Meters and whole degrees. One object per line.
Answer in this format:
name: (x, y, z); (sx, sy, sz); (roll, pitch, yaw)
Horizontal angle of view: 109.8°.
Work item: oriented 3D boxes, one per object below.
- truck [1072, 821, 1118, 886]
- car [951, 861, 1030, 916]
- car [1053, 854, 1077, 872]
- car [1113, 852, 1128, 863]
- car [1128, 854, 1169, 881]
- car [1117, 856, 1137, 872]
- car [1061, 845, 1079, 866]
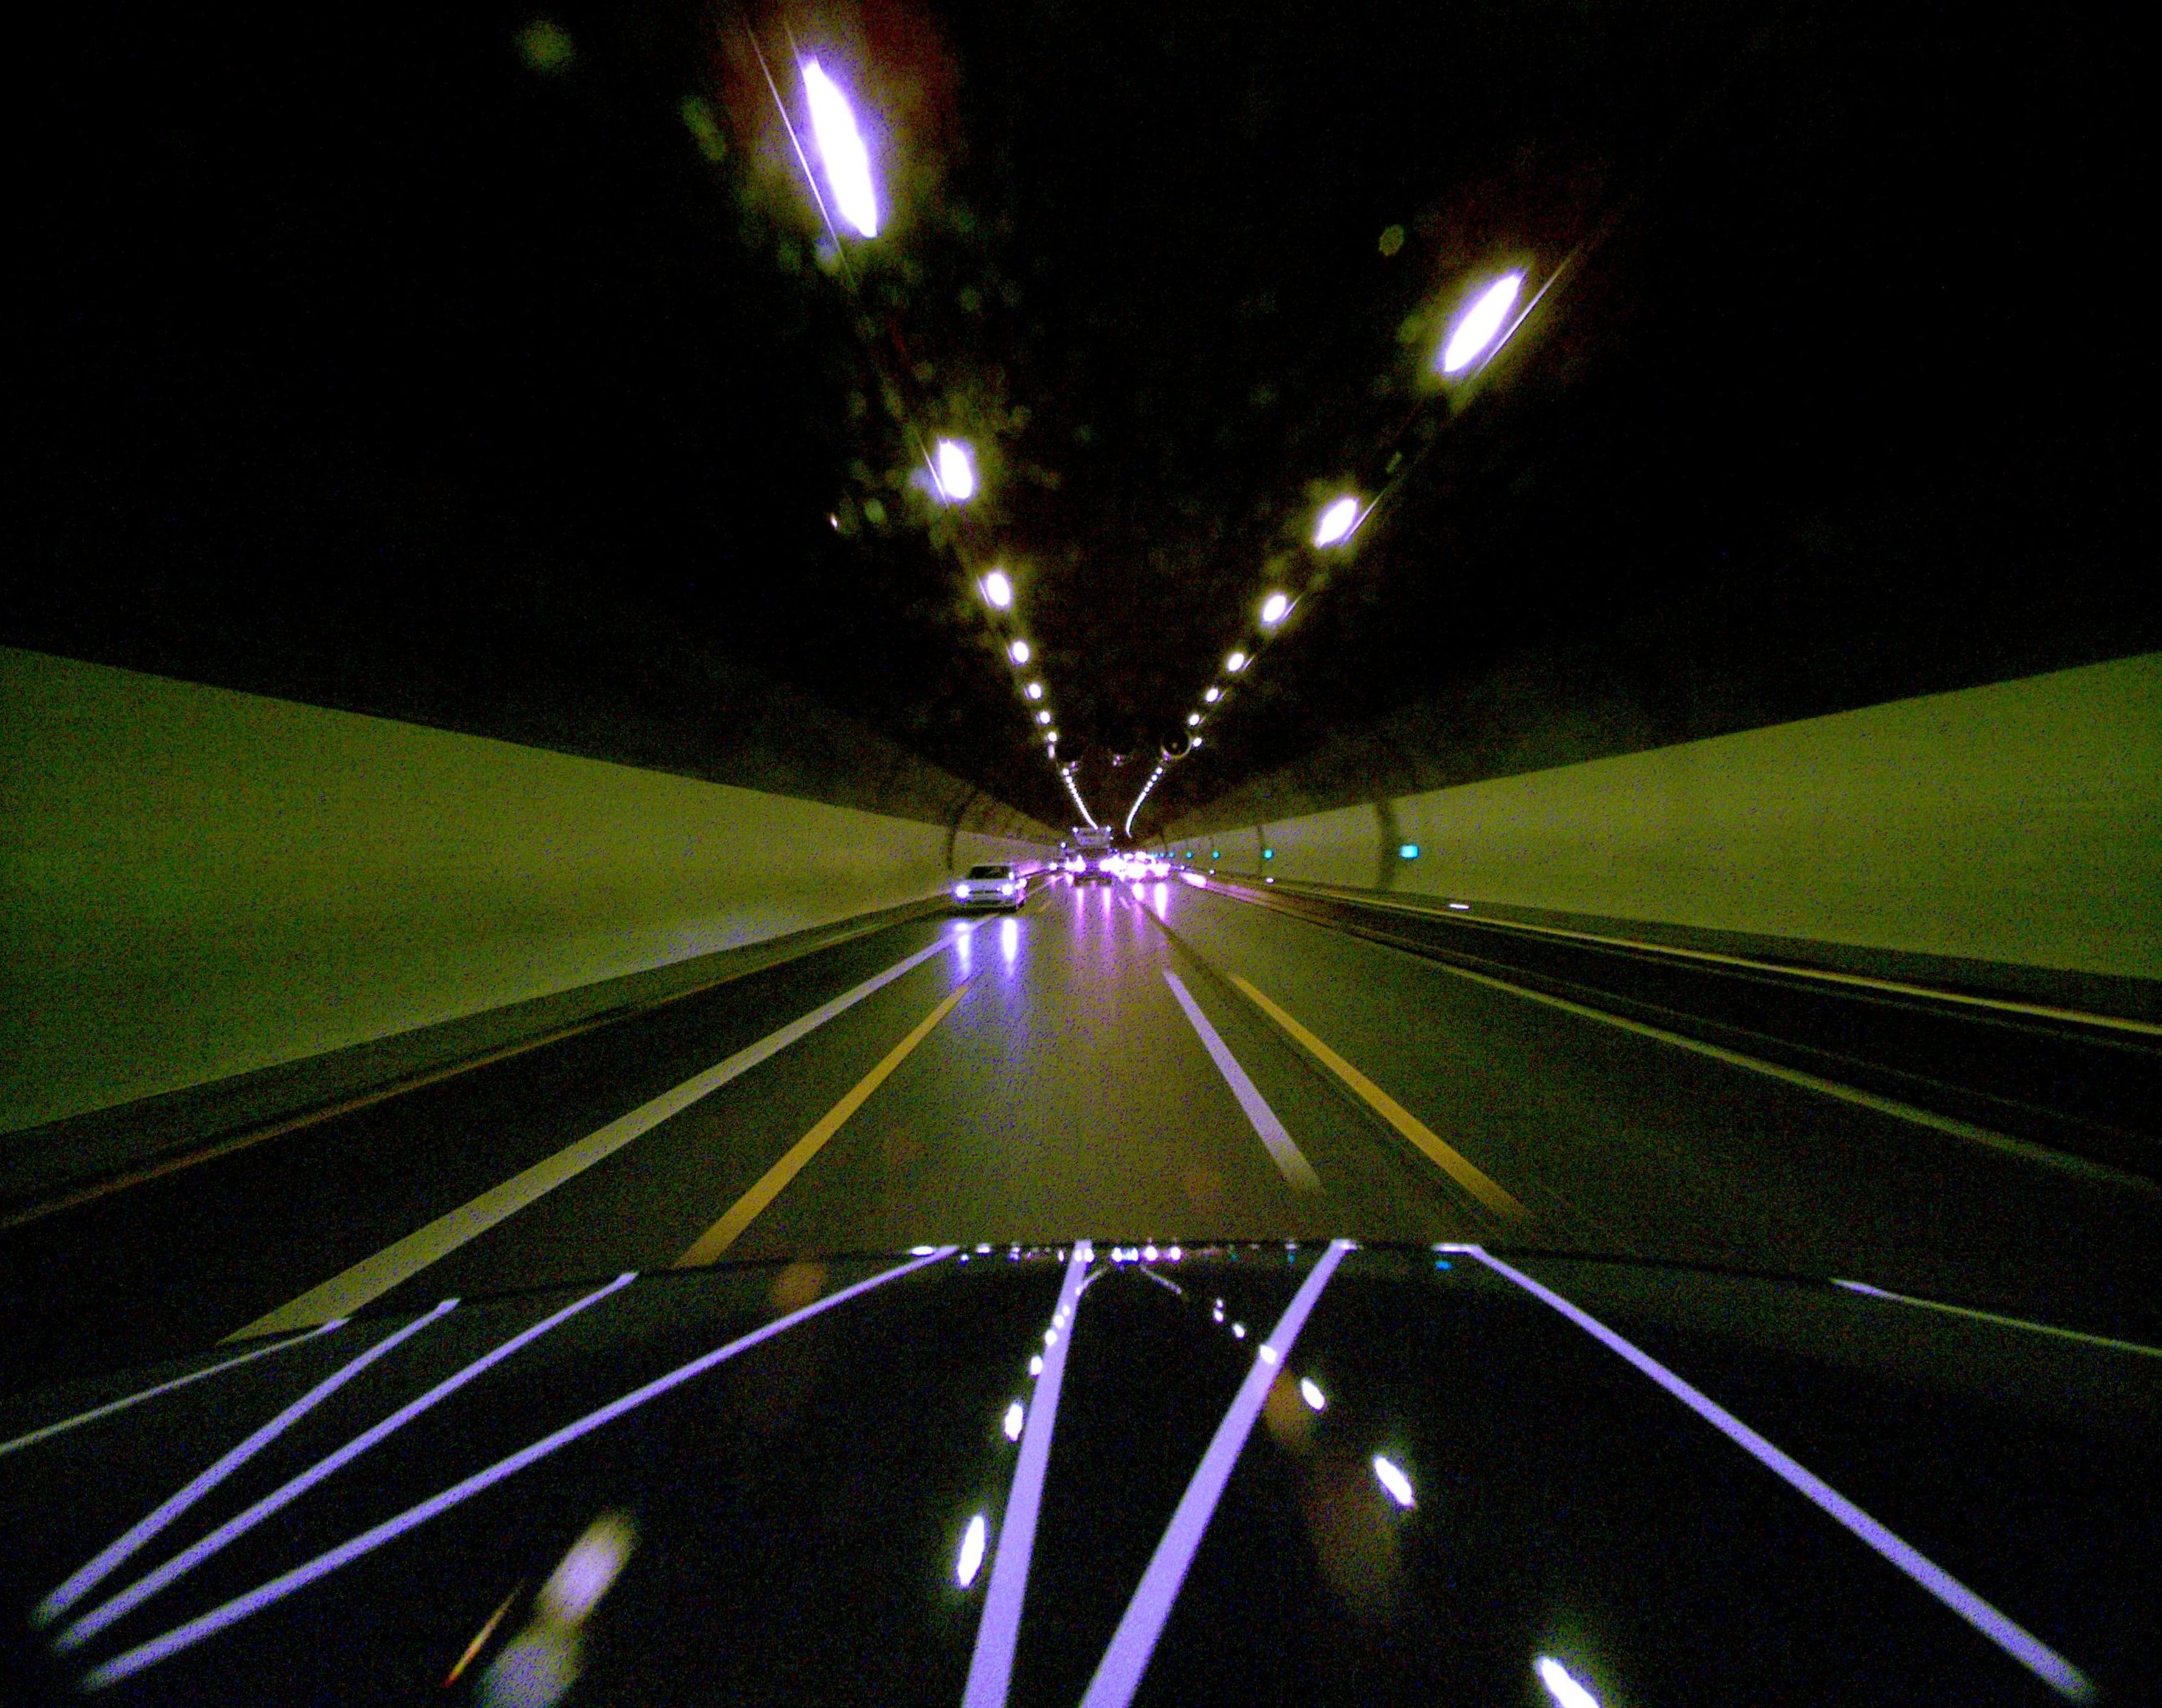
truck: (0.724, -0.062, 42.289); (2.262, 3.238, 7.382); (-1, 0, 0)
car: (-2.654, 0.992, 23.231); (1.801, 1.452, 4.035); (-1, 0, 2)
car: (-1.414, 0.782, 68.798); (1.958, 1.528, 4.757); (-2, 1, 0)
car: (5.975, 0.490, 115.712); (1.958, 1.528, 4.757); (-4, 1, 0)
car: (3.925, 0.761, 44.957); (1.908, 1.476, 4.943); (0, 0, 0)
car: (4.269, 0.953, 71.274); (1.657, 1.395, 3.656); (-1, 0, 0)
car: (-1.423, 0.157, 98.418); (2.124, 2.629, 6.229); (-2, 1, 0)
